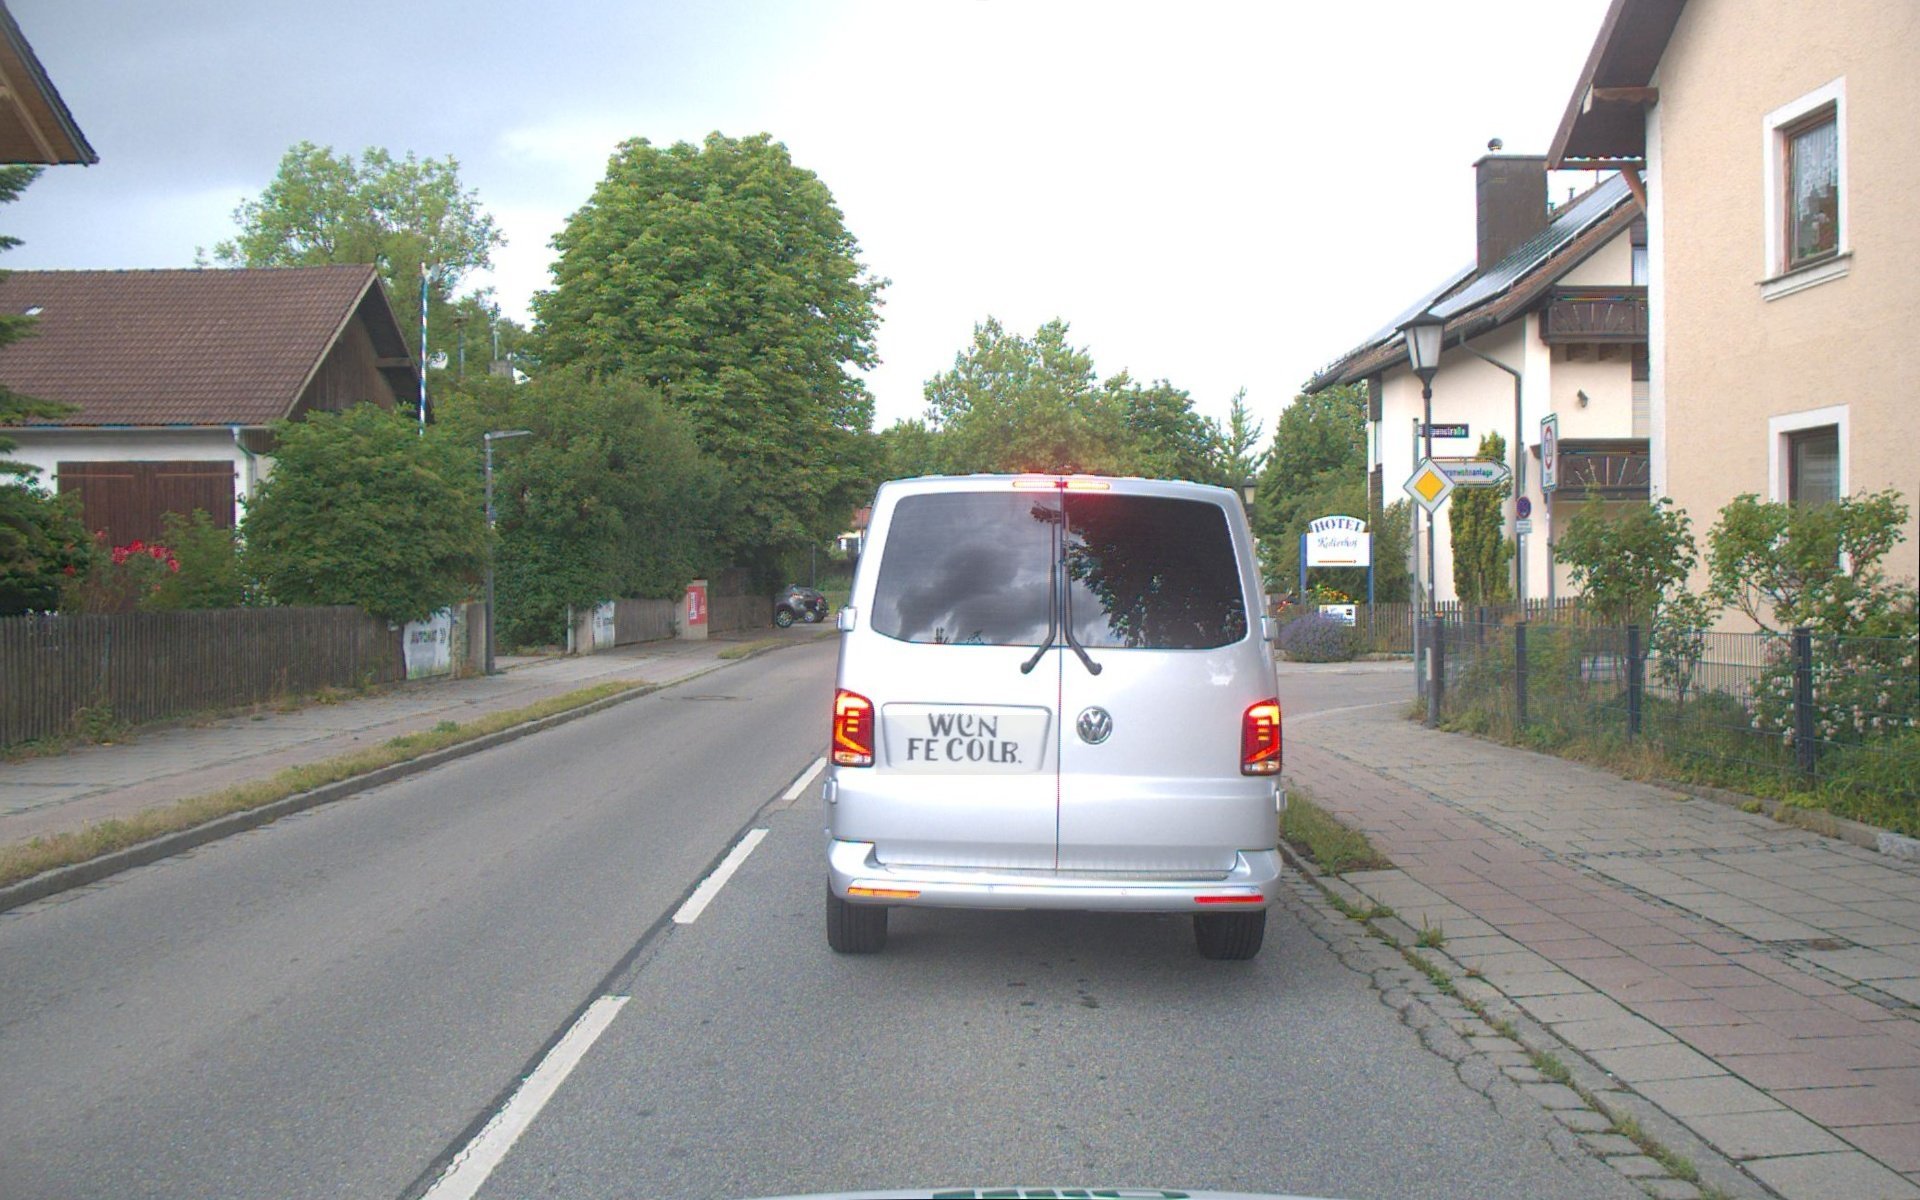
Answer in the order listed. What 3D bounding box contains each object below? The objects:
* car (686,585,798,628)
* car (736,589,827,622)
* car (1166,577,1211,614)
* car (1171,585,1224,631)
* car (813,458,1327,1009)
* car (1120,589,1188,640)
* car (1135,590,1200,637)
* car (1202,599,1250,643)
[{"bbox_3d":[-7.816,0.215,59.194,3.913,1.512,1.996,0,0,-9],"label":"car"},{"bbox_3d":[-7.523,0.215,69.544,3.683,1.369,1.579,0,0,-11],"label":"car"},{"bbox_3d":[12.039,-0.252,86.915,1.841,1.857,3.923,-1,0,15],"label":"car"},{"bbox_3d":[9.455,0.306,65.728,1.841,1.779,4.084,0,0,12],"label":"car"},{"bbox_3d":[0.402,0.469,7.917,1.842,1.974,3.920,0,0,0],"label":"car"},{"bbox_3d":[6.219,0.438,52.658,1.841,1.562,3.924,0,0,11],"label":"car"},{"bbox_3d":[7.249,0.438,57.583,1.841,1.562,3.924,0,0,13],"label":"car"},{"bbox_3d":[11.810,0.904,73.233,1.841,1.857,3.924,0,0,13],"label":"car"}]
